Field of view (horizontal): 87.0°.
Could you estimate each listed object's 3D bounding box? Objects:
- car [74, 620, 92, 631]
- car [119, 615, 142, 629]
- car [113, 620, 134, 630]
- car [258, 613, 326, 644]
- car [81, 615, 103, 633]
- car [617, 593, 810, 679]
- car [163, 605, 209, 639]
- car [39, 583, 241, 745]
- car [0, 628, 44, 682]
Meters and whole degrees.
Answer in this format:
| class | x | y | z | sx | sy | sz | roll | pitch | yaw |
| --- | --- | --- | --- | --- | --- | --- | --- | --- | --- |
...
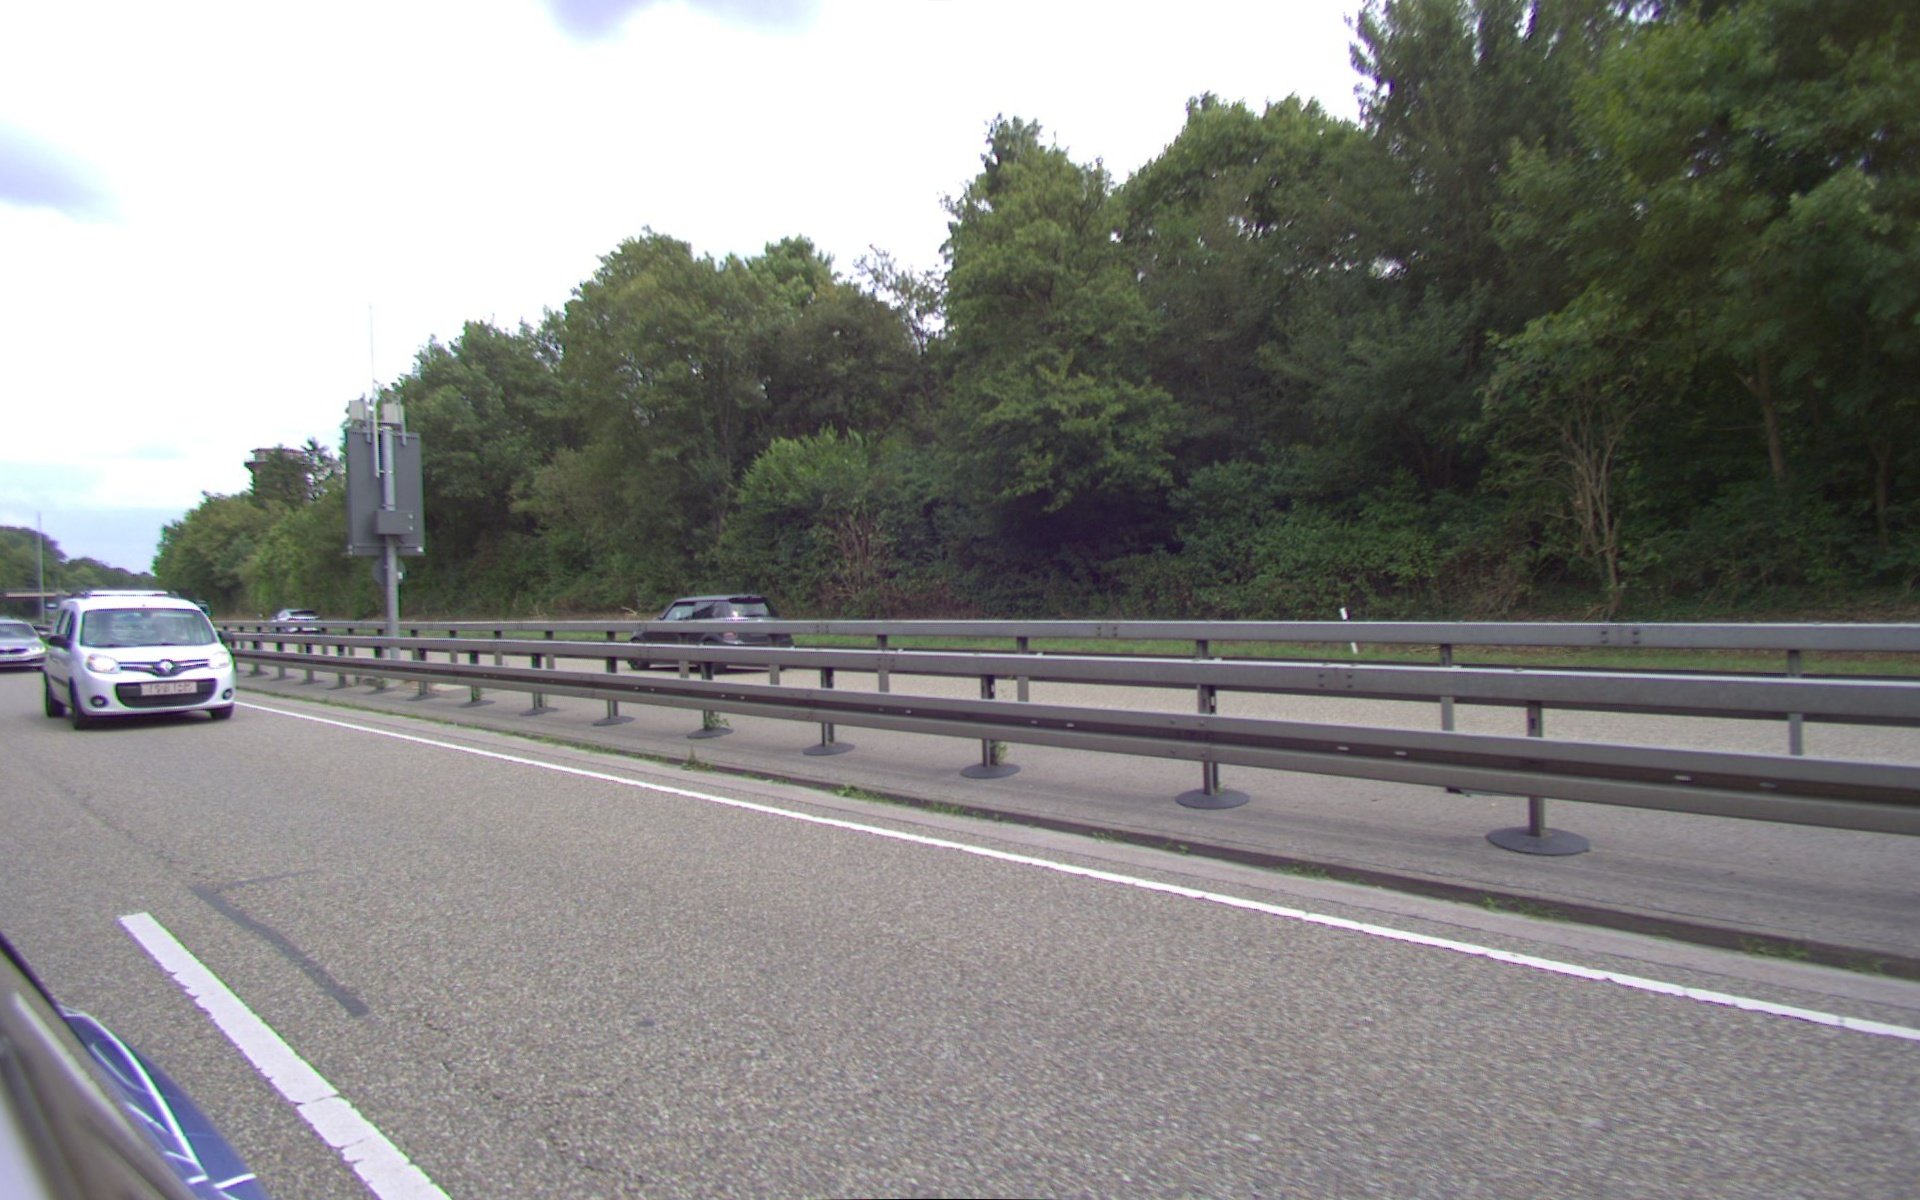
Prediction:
| class | x | y | z | sx | sy | sz | roll | pitch | yaw |
| --- | --- | --- | --- | --- | --- | --- | --- | --- | --- |
| car | -130.471 | 3.735 | 150.577 | 4.016 | 1.575 | 1.761 | -1 | -1 | 45 |
| car | -92.017 | 2.408 | 112.302 | 1.968 | 1.521 | 4.513 | 0 | -1 | -39 |
| car | -124.634 | 3.738 | 150.696 | 4.001 | 1.512 | 1.971 | -1 | -1 | 44 |
| car | -33.933 | 1.435 | 51.378 | 4.131 | 1.492 | 1.972 | -1 | -1 | 43 |
| car | -109.853 | 2.996 | 128.010 | 2.041 | 2.273 | 5.382 | 0 | -1 | -42 |
| car | -4.692 | 0.650 | 19.025 | 3.775 | 1.457 | 1.691 | -1 | -1 | 42 |
| car | -55.505 | 1.545 | 72.537 | 5.307 | 2.339 | 1.913 | -1 | -1 | 44 |
| car | -12.116 | 0.842 | 14.846 | 4.425 | 2.020 | 1.796 | -1 | -1 | 44 |
| car | -27.222 | 1.517 | 28.559 | 4.199 | 1.435 | 1.748 | -1 | -1 | 44 |
